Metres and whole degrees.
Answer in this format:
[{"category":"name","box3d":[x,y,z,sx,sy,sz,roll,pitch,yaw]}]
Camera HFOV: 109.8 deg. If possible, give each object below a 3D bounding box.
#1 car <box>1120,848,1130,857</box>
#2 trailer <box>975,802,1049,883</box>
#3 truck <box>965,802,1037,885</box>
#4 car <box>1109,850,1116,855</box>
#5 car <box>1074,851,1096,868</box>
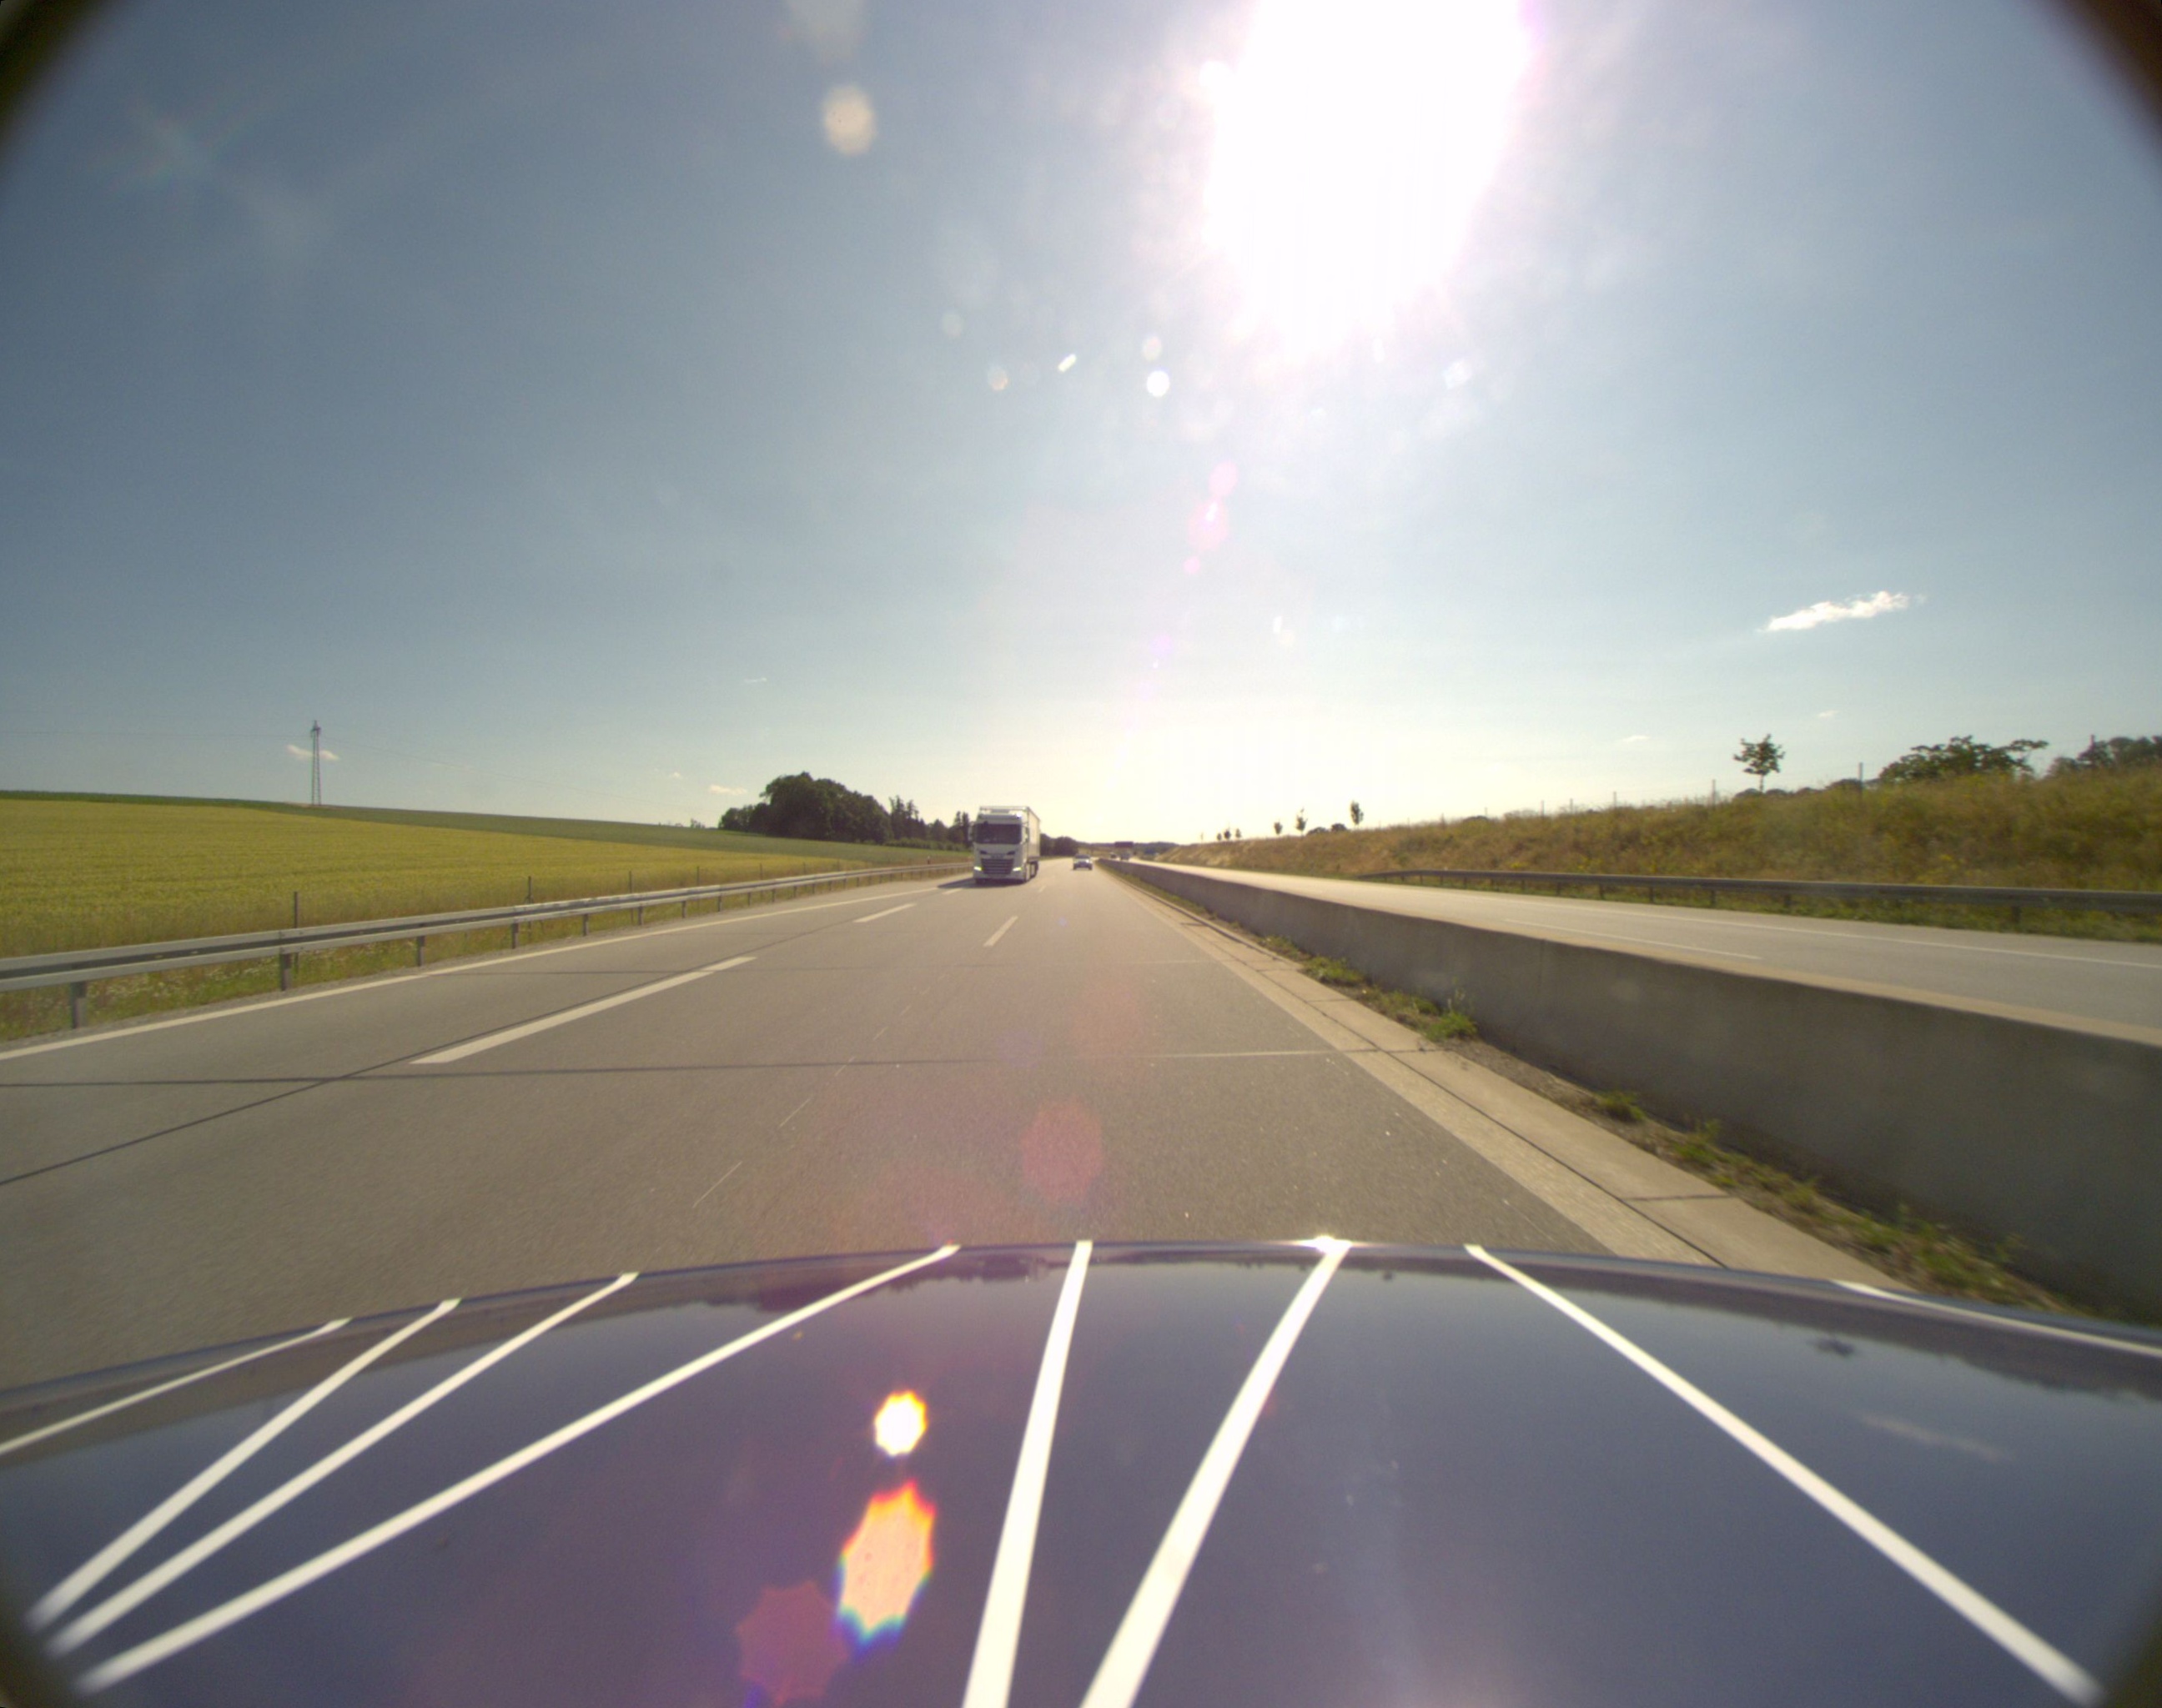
[{"category":"car","box3d":[10.545,-0.398,182.569,2.239,1.923,5.794,-1,1,0]},{"category":"trailer","box3d":[-4.053,-0.669,48.912,3.184,4.269,15.458,2,0,0]},{"category":"truck","box3d":[-4.065,-0.539,39.991,3.090,3.991,6.188,0,1,0]},{"category":"car","box3d":[9.729,-0.492,236.448,1.884,1.566,4.564,1,1,0]},{"category":"car","box3d":[0.432,0.528,74.436,1.891,1.565,3.793,1,1,5]}]
